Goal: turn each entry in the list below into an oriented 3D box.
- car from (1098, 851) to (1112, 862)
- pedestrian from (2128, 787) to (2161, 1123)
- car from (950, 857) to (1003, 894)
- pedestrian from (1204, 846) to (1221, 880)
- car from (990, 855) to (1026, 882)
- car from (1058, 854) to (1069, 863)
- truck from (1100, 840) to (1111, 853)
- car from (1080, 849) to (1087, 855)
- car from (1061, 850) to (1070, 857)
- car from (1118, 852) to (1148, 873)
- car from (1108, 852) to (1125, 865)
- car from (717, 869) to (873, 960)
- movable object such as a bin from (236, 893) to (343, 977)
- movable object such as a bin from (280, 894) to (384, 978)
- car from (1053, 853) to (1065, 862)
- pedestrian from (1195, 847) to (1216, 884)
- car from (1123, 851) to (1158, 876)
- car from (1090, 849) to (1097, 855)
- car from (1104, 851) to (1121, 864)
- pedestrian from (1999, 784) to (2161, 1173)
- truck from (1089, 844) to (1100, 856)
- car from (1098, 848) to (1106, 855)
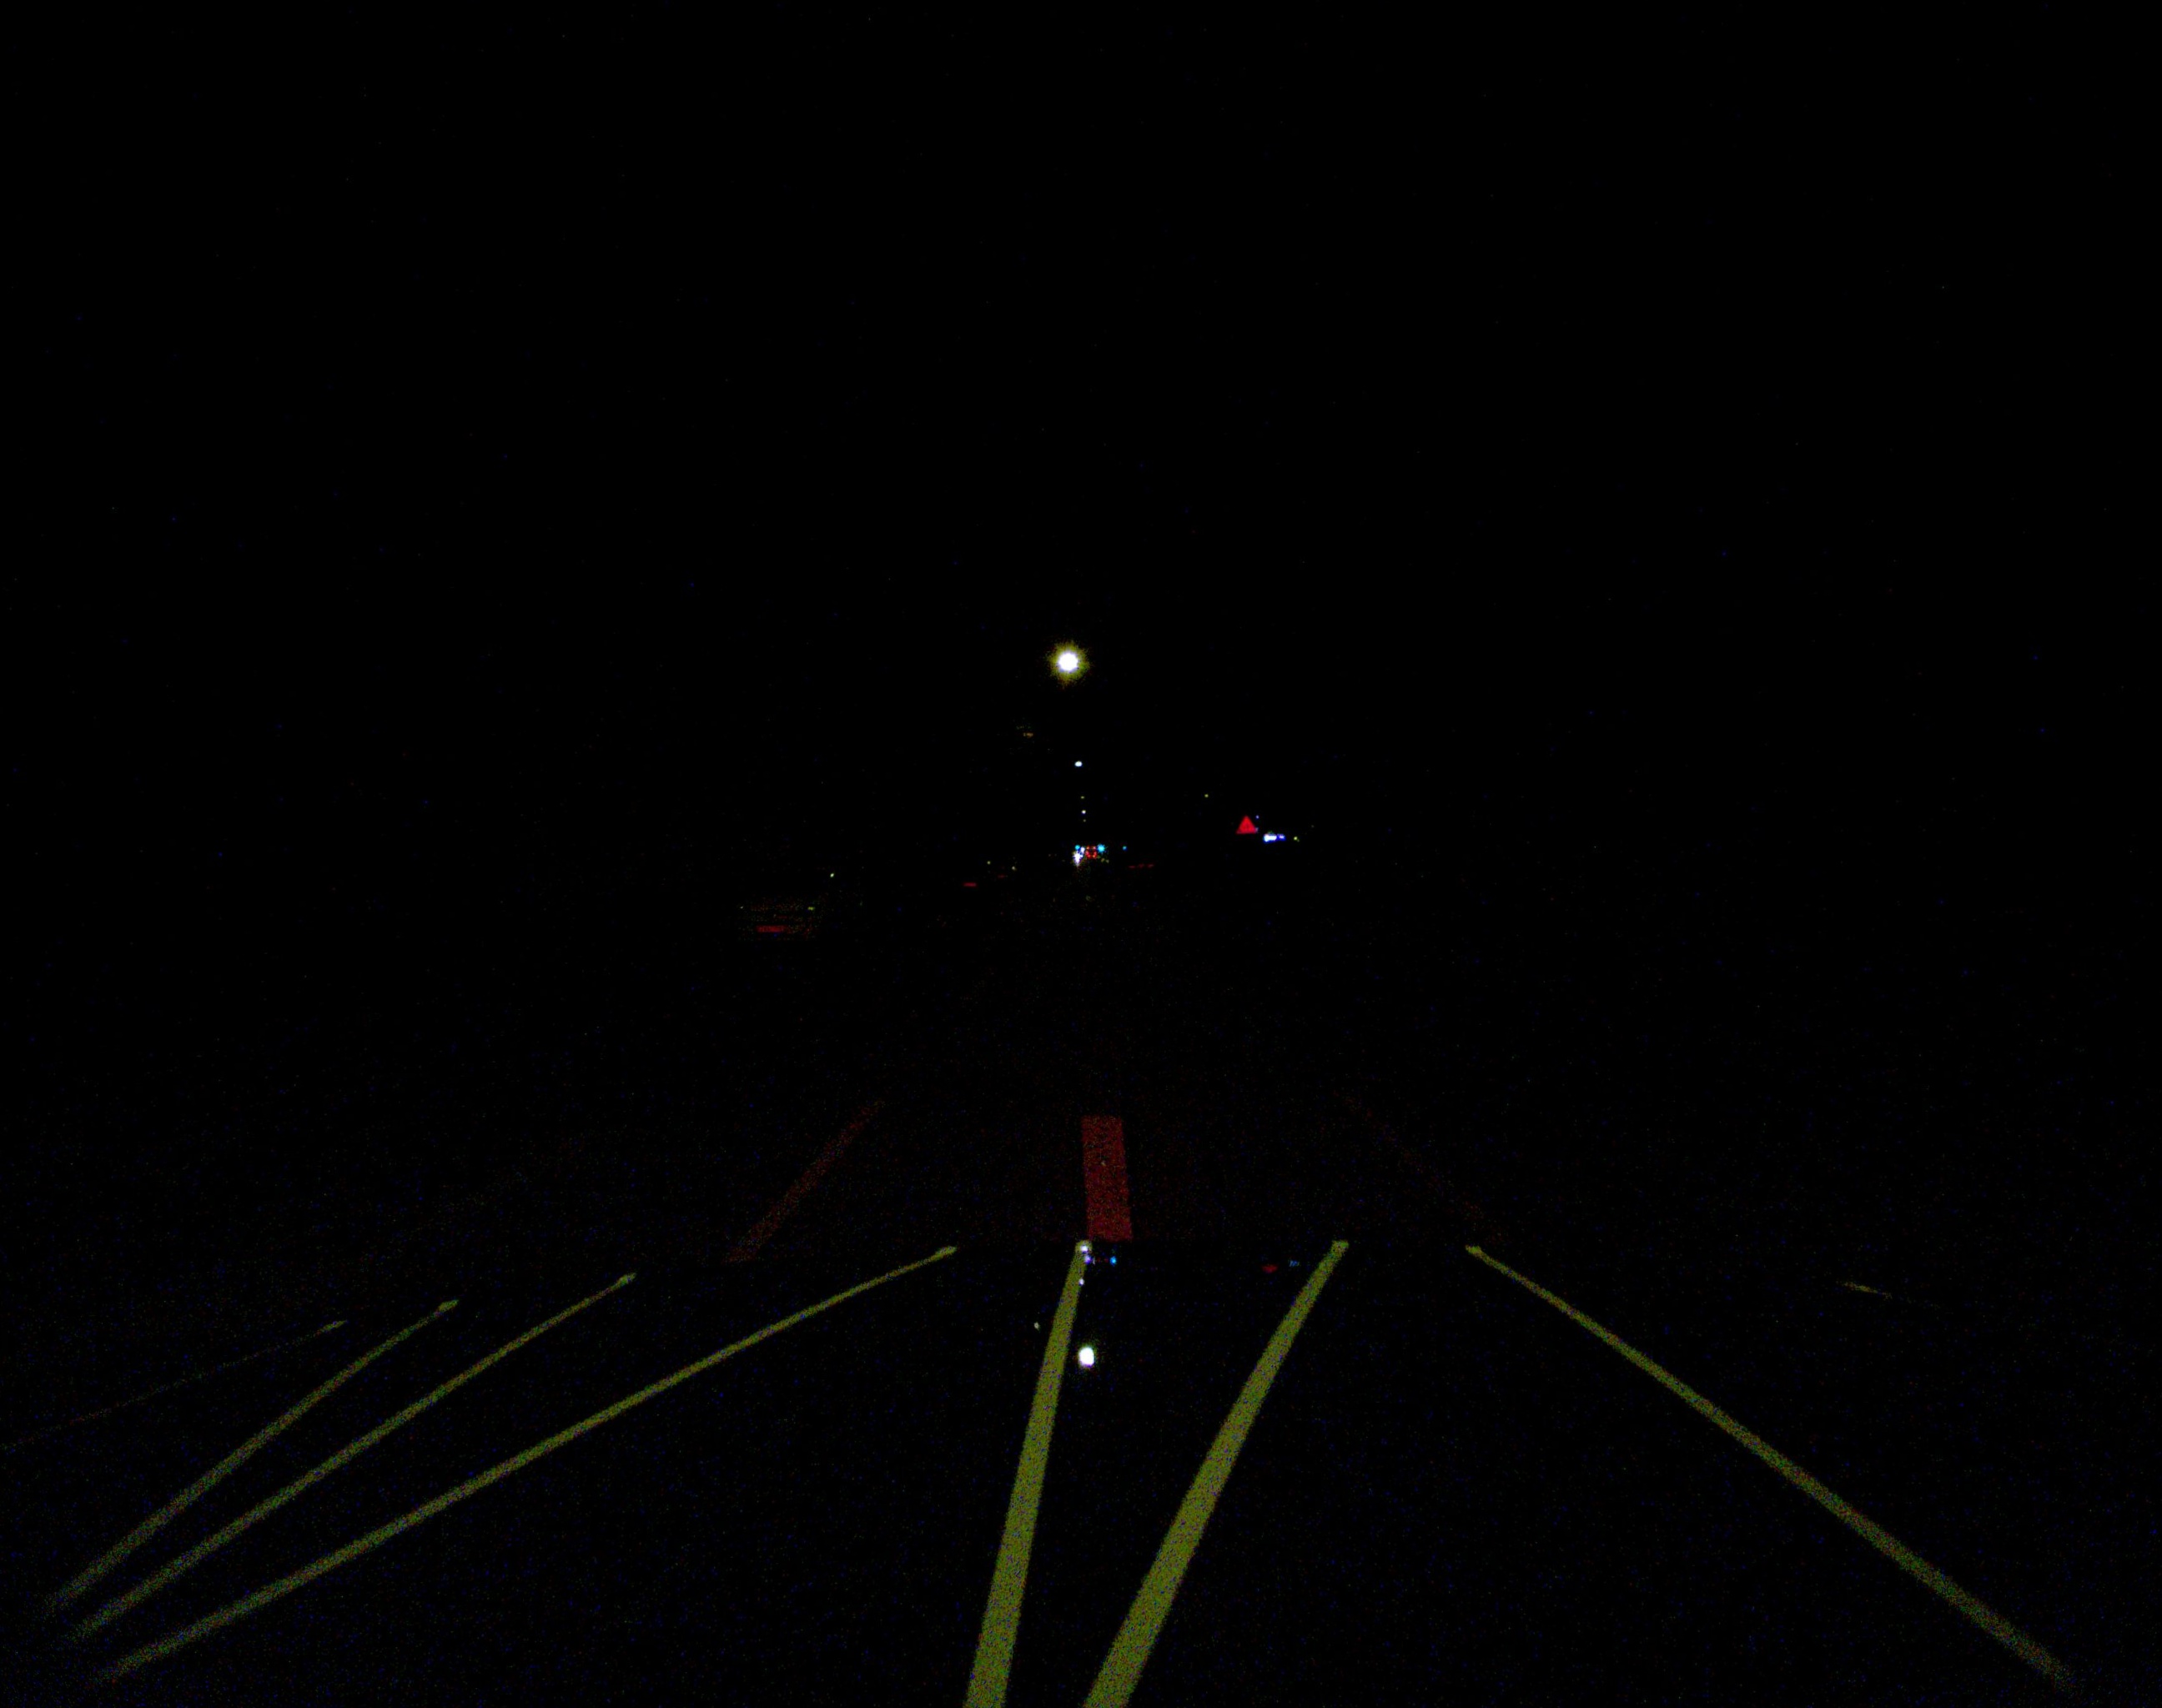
[{"bbox_3d":[3.791,0.348,119.246,1.874,1.635,3.999,-2,0,-3],"label":"car"},{"bbox_3d":[5.938,0.516,3.485,0.744,1.735,1.103,-2,1,0],"label":"pedestrian"},{"bbox_3d":[-4.589,0.917,33.834,1.865,1.544,4.044,0,0,-1],"label":"car"},{"bbox_3d":[6.815,0.446,39.402,0.670,1.716,0.866,-2,1,-2],"label":"pedestrian"},{"bbox_3d":[-4.483,0.859,47.212,1.742,1.588,4.359,0,0,1],"label":"car"},{"bbox_3d":[-3.043,0.823,134.331,1.874,1.407,4.000,-2,0,0],"label":"car"},{"bbox_3d":[4.884,-1.583,154.997,2.084,2.562,6.873,-2,0,1],"label":"truck"},{"bbox_3d":[0.588,-0.499,216.148,1.874,1.635,4.000,-2,0,0],"label":"car"},{"bbox_3d":[-3.399,-0.182,163.746,1.874,1.407,4.000,-2,0,0],"label":"car"},{"bbox_3d":[3.877,0.609,57.285,1.864,1.458,3.896,-4,0,-1],"label":"car"},{"bbox_3d":[4.687,0.527,100.204,1.874,1.635,3.999,-2,0,-3],"label":"car"},{"bbox_3d":[-5.349,1.061,14.701,1.672,1.476,3.603,0,0,0],"label":"car"},{"bbox_3d":[-10.777,1.088,10.367,0.609,1.042,0.755,-2,1,1],"label":"movable object such as a bin"},{"bbox_3d":[-10.122,1.090,10.296,0.609,1.042,0.755,-2,1,1],"label":"movable object such as a bin"},{"bbox_3d":[-3.633,0.638,127.685,1.874,1.407,4.000,-2,0,0],"label":"car"},{"bbox_3d":[5.754,0.508,35.160,0.744,1.662,1.103,-2,1,0],"label":"pedestrian"},{"bbox_3d":[4.007,0.594,51.889,1.864,1.523,4.587,-4,0,-1],"label":"car"},{"bbox_3d":[3.453,-0.617,206.397,1.873,1.635,4.000,-2,0,1],"label":"car"},{"bbox_3d":[4.325,0.487,104.635,1.874,1.635,3.999,-2,0,-3],"label":"car"},{"bbox_3d":[5.134,0.545,3.449,0.677,1.735,1.028,-2,1,0],"label":"pedestrian"},{"bbox_3d":[4.030,-1.192,229.319,3.222,3.360,8.850,-2,0,1],"label":"truck"},{"bbox_3d":[4.944,-0.568,179.819,1.873,1.551,4.353,-2,0,1],"label":"car"}]
